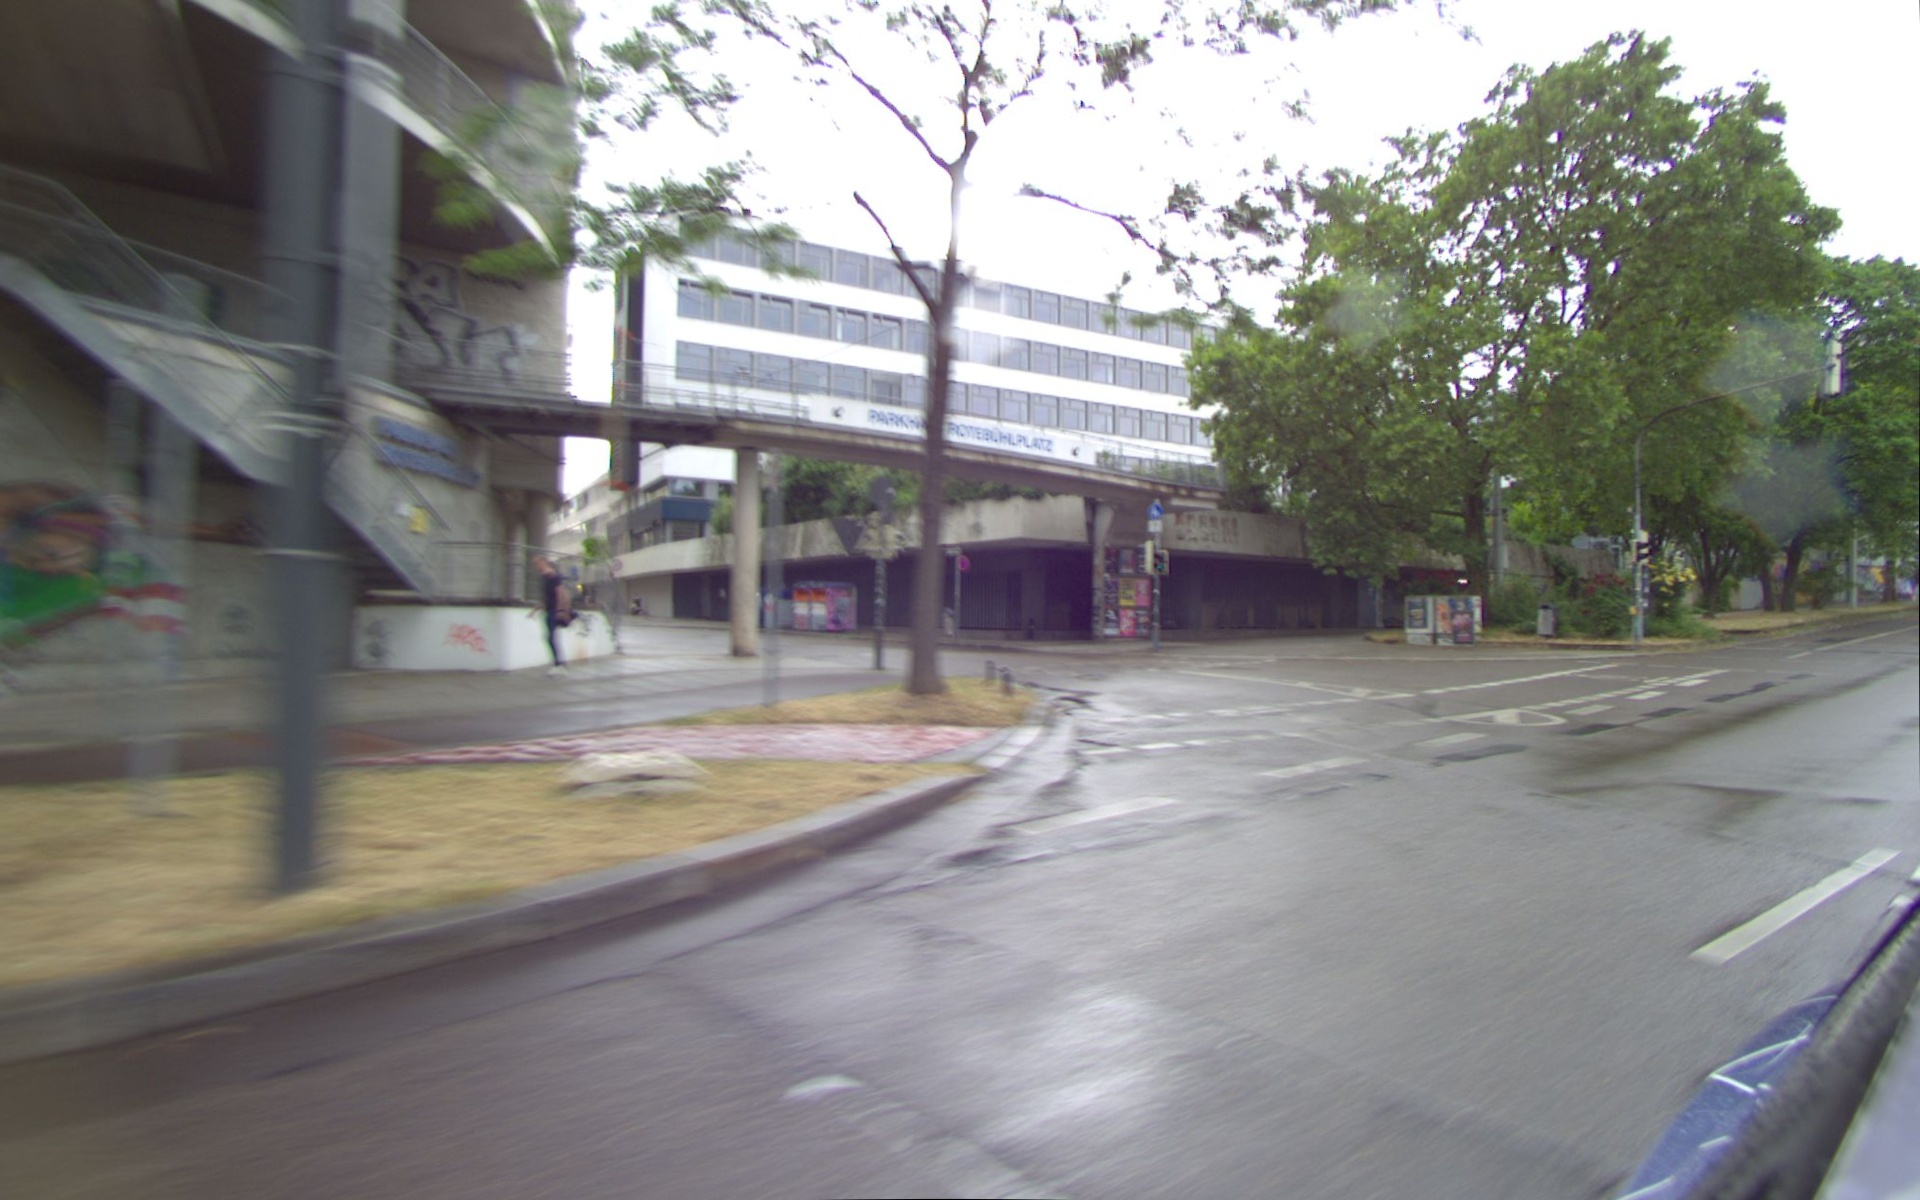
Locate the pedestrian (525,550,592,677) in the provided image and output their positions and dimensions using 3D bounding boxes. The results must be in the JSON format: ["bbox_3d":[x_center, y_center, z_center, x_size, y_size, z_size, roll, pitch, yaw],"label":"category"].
[{"bbox_3d":[-6.329,0.204,15.949,0.744,1.934,0.847,0,0,-40],"label":"pedestrian"}]
